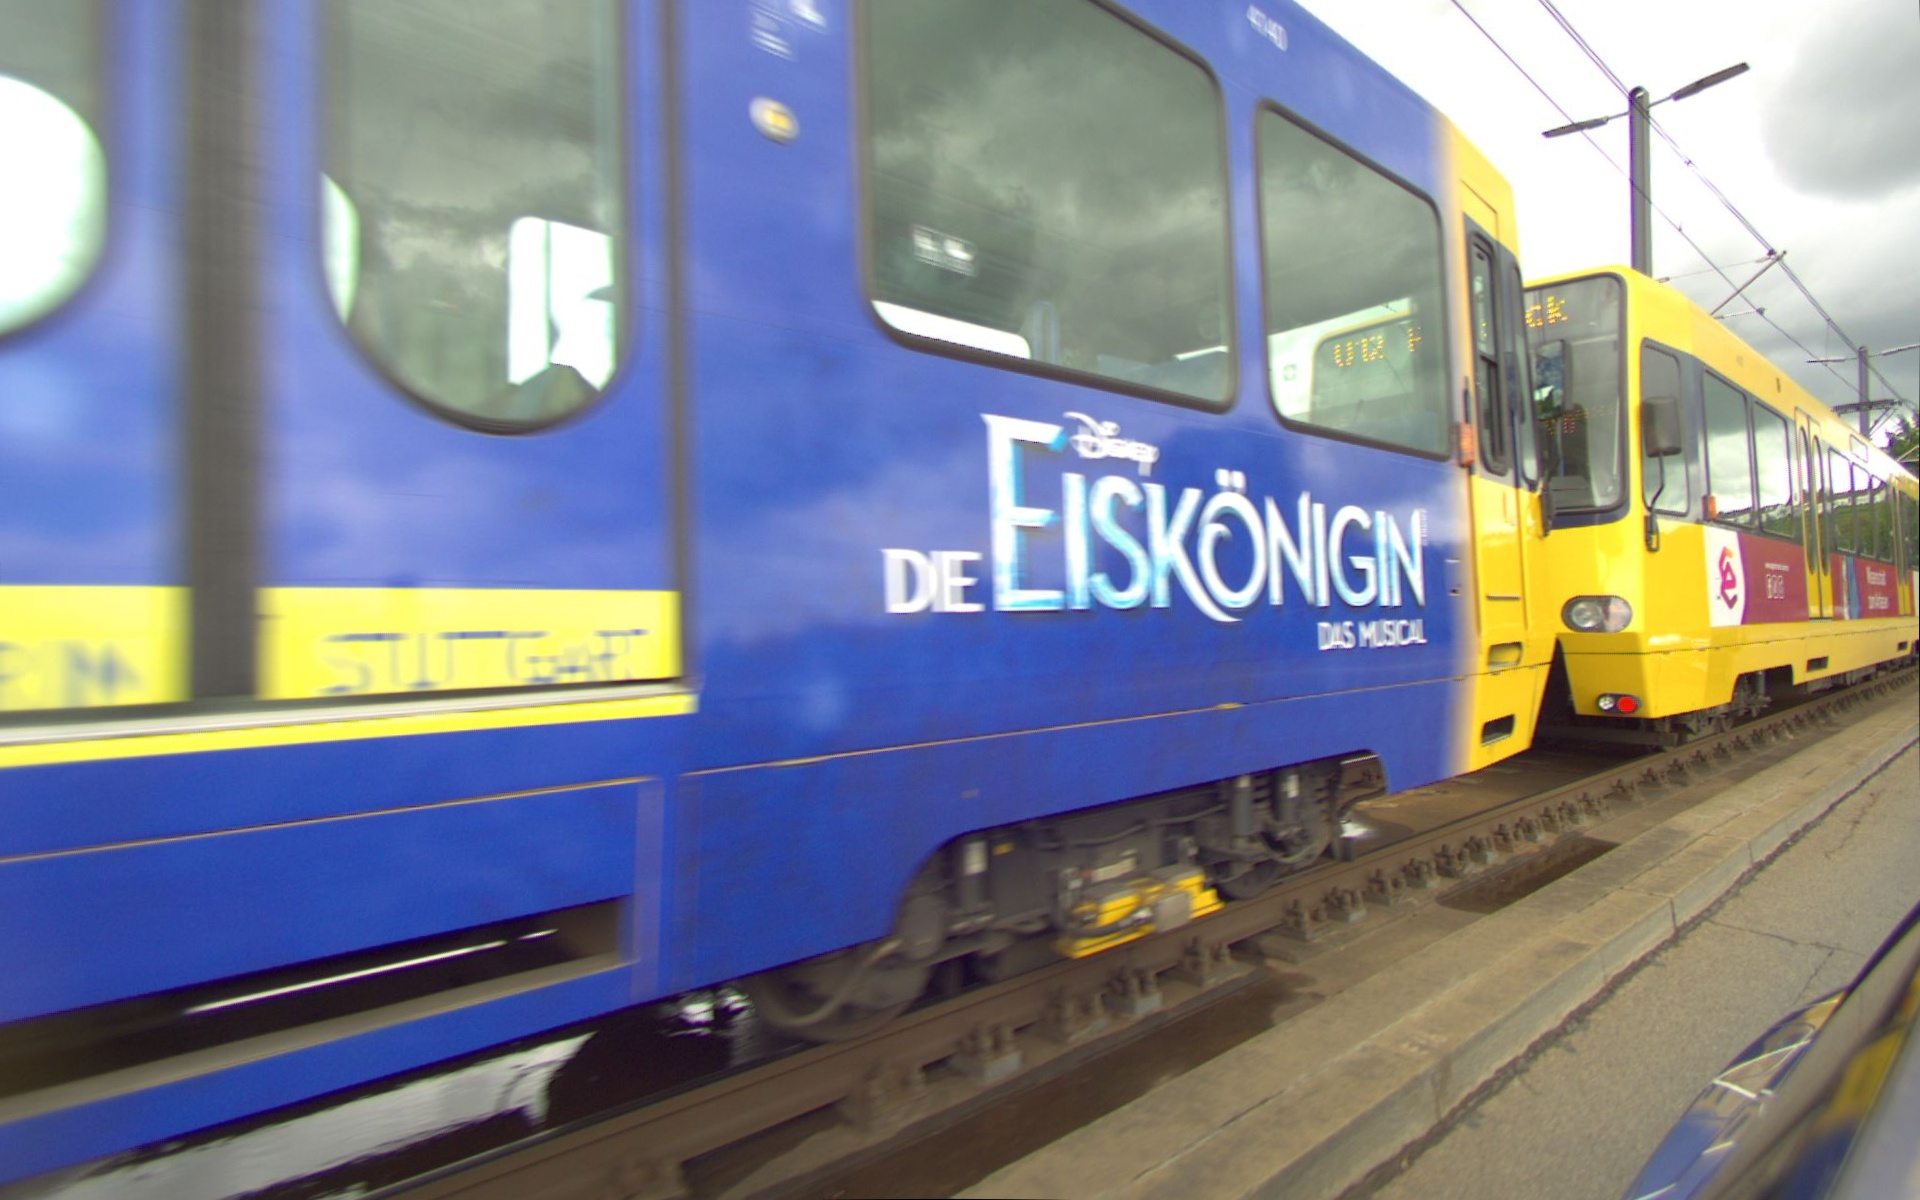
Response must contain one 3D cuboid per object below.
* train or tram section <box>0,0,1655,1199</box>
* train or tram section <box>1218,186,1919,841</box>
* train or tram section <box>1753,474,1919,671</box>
[{"bbox_3d":[-4.222,-0.488,0.370,19.550,3.701,2.789,-1,2,-42],"label":"train or tram section"},{"bbox_3d":[9.765,-0.516,12.805,18.344,3.625,2.834,0,1,-42],"label":"train or tram section"},{"bbox_3d":[23.511,-0.532,25.074,18.344,3.553,2.887,0,1,-42],"label":"train or tram section"}]
